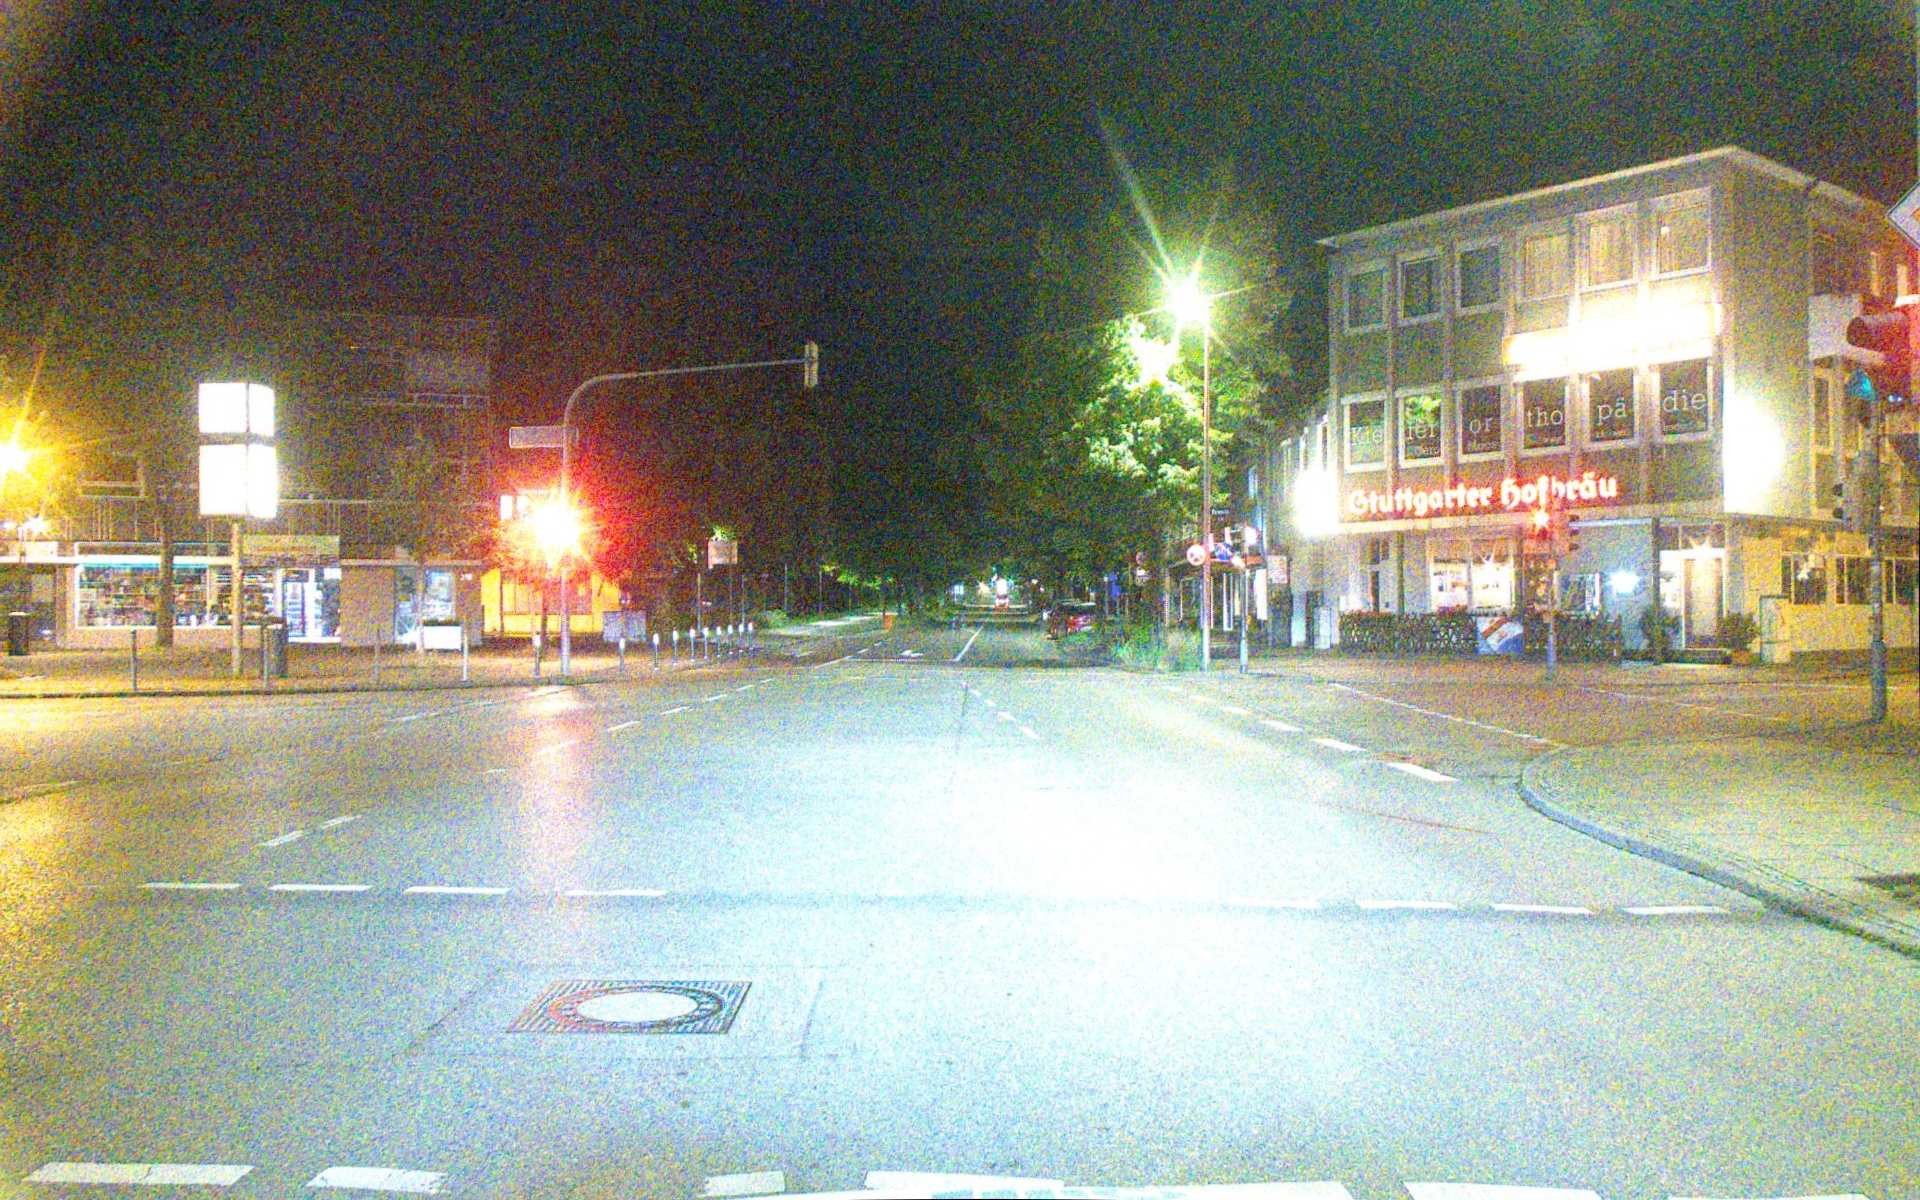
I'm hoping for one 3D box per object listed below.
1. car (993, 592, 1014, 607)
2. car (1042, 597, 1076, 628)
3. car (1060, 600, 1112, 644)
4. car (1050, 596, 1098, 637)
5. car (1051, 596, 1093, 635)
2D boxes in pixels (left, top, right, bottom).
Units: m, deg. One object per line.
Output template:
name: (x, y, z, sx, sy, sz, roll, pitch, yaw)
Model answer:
car: (4.902, -0.054, 187.813, 2.182, 1.680, 3.999, 0, 0, -1)
car: (5.654, 0.702, 94.612, 1.837, 1.713, 4.001, 0, 0, 2)
car: (4.821, 0.823, 63.645, 1.837, 1.643, 4.001, 0, 0, 2)
car: (4.728, 0.676, 68.858, 1.837, 1.643, 4.001, 0, 0, 2)
car: (5.152, 0.704, 76.535, 1.837, 1.759, 4.001, 0, 0, 2)
